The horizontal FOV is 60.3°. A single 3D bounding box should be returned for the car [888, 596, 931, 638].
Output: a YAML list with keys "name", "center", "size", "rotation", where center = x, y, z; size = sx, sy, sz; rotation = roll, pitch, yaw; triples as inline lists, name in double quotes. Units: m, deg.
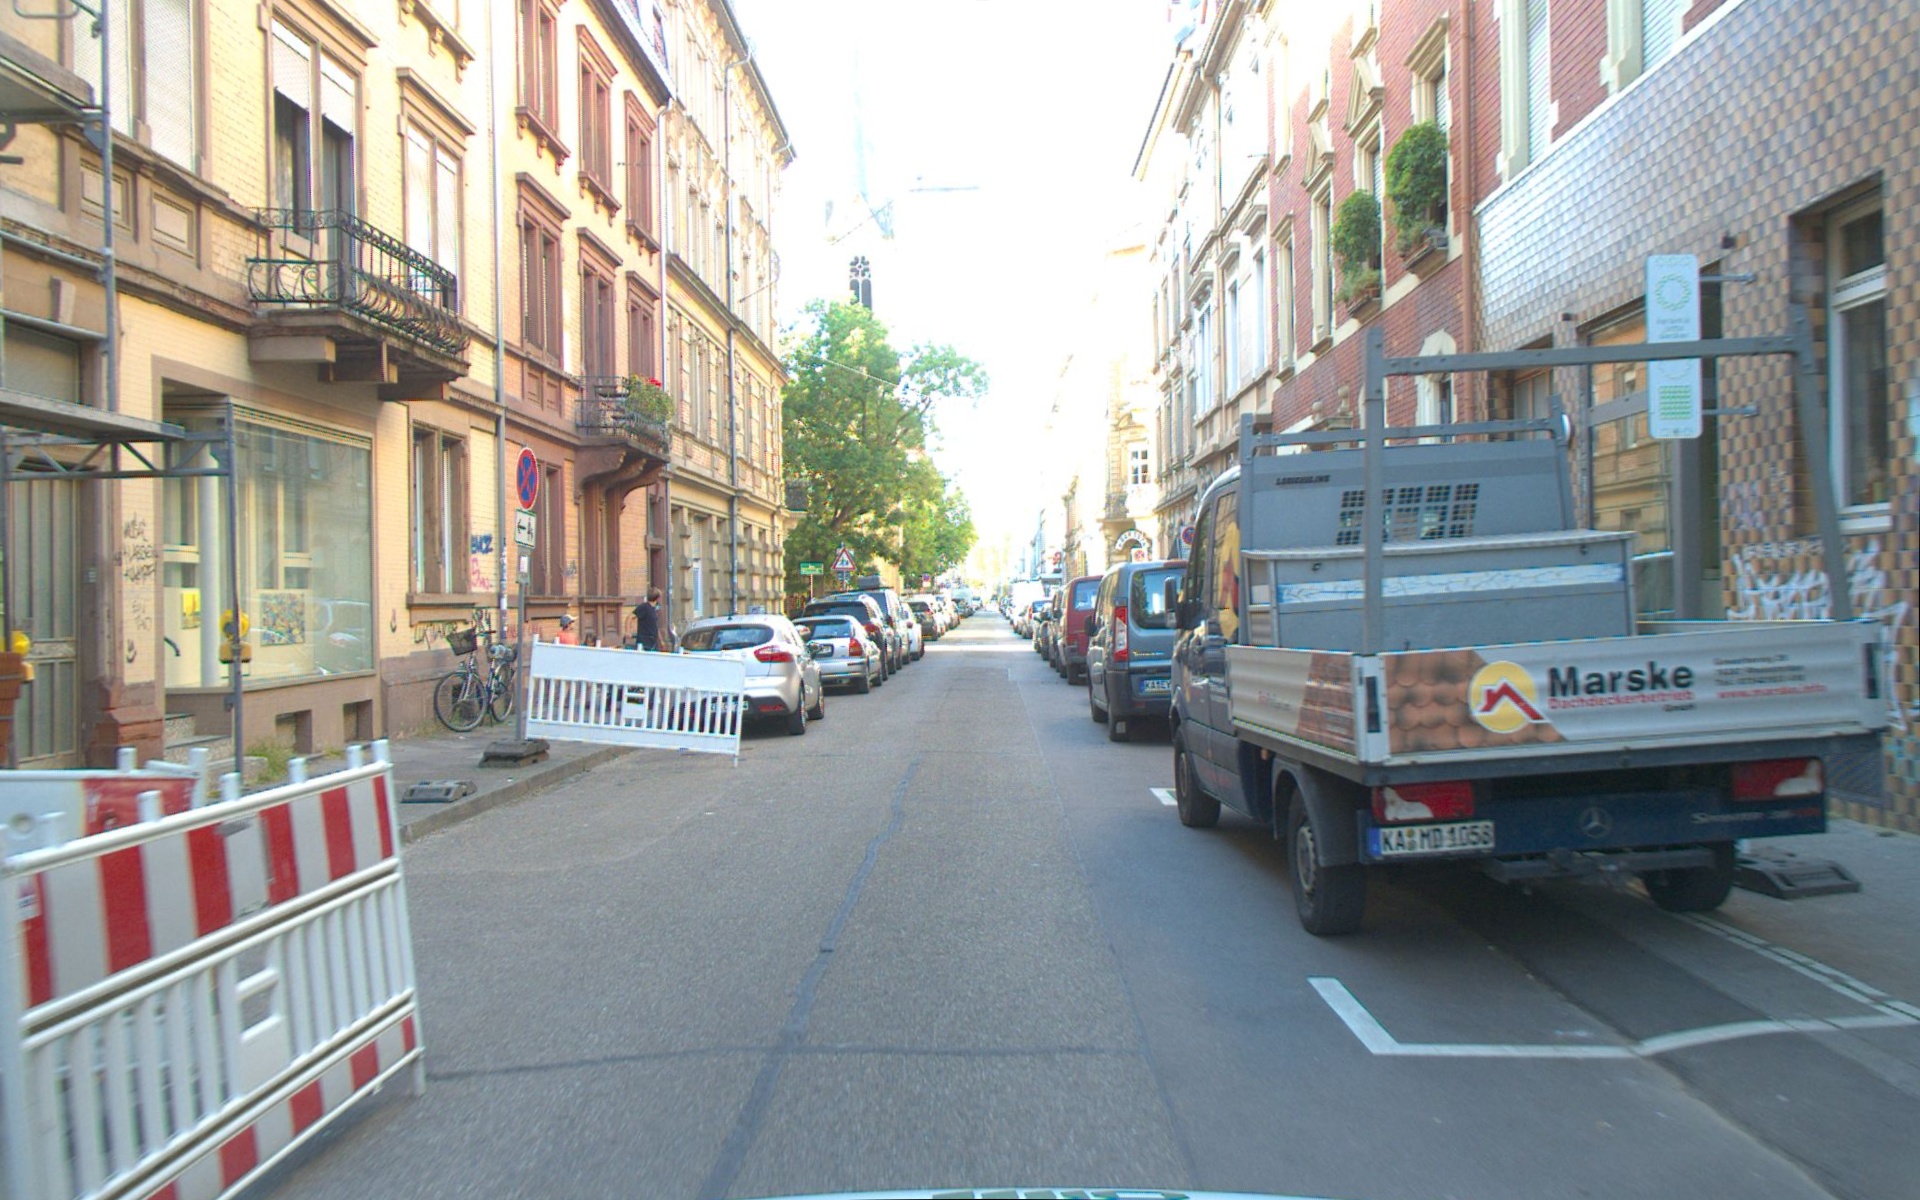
- name: "car"
  center: [-2.049, 0.680, 68.154]
  size: [1.705, 1.675, 4.288]
  rotation: [-1, 0, -1]

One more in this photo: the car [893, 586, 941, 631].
- name: "car"
  center: [-1.887, 0.351, 73.493]
  size: [1.807, 1.895, 4.466]
  rotation: [-1, 0, 2]

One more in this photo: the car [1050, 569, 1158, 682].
- name: "car"
  center: [2.746, 0.465, 32.496]
  size: [1.794, 2.049, 4.742]
  rotation: [1, 0, 1]

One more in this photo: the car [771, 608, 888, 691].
- name: "car"
  center: [-2.295, 0.848, 30.018]
  size: [1.663, 1.337, 4.000]
  rotation: [3, 0, 1]

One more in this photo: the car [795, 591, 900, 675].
- name: "car"
  center: [-2.308, 0.659, 35.050]
  size: [1.751, 1.653, 4.609]
  rotation: [1, 0, 2]

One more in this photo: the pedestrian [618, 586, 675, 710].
- name: "pedestrian"
  center: [-4.618, 0.694, 24.424]
  size: [0.671, 1.796, 0.887]
  rotation: [-1, 0, -2]

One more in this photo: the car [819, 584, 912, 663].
- name: "car"
  center: [-2.236, 0.548, 40.413]
  size: [1.853, 1.816, 4.609]
  rotation: [1, 0, 2]

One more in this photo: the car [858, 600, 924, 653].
- name: "car"
  center: [-2.029, 0.755, 49.372]
  size: [1.687, 1.507, 4.090]
  rotation: [1, 0, 1]

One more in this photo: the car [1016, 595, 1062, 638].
- name: "car"
  center: [3.289, 0.672, 69.599]
  size: [1.669, 1.744, 3.937]
  rotation: [-2, 0, -1]

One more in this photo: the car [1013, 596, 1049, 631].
- name: "car"
  center: [3.597, 0.699, 84.442]
  size: [1.770, 1.719, 4.215]
  rotation: [1, -1, 2]

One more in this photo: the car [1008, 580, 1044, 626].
- name: "car"
  center: [3.944, 0.154, 99.049]
  size: [2.025, 2.656, 5.888]
  rotation: [0, 0, 1]

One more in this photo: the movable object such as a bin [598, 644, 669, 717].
- name: "movable object such as a bin"
  center: [-4.581, 1.117, 23.258]
  size: [0.746, 0.948, 1.415]
  rotation: [-1, 0, -2]

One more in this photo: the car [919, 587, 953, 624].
- name: "car"
  center: [-1.358, 0.335, 95.357]
  size: [1.826, 1.991, 4.610]
  rotation: [-2, 0, 0]

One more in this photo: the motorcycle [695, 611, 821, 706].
- name: "motorcycle"
  center: [-3.182, 0.920, 25.924]
  size: [0.837, 1.383, 2.164]
  rotation: [-3, 0, -41]

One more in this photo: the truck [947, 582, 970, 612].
- name: "truck"
  center: [-0.148, -0.336, 193.917]
  size: [2.480, 3.339, 6.995]
  rotation: [-1, 0, 1]

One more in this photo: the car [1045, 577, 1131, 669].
- name: "car"
  center: [2.906, 0.497, 38.248]
  size: [1.733, 1.995, 4.264]
  rotation: [1, 0, 1]

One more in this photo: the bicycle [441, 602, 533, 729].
- name: "bicycle"
  center: [-5.725, 0.770, 20.090]
  size: [0.513, 1.450, 1.712]
  rotation: [2, -1, 2]

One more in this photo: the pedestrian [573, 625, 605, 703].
- name: "pedestrian"
  center: [-5.338, 0.920, 23.791]
  size: [0.386, 1.105, 0.431]
  rotation: [0, 0, -4]

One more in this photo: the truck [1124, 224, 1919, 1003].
- name: "truck"
  center: [2.456, 0.043, 9.244]
  size: [2.105, 2.703, 6.251]
  rotation: [-5, 0, -1]

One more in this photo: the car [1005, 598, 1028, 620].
- name: "car"
  center: [3.964, 0.622, 115.116]
  size: [1.570, 1.531, 4.001]
  rotation: [0, 0, 2]

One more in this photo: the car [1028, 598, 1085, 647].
- name: "car"
  center: [3.062, 0.694, 53.329]
  size: [1.671, 1.484, 4.512]
  rotation: [1, 0, 1]

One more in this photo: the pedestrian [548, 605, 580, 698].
- name: "pedestrian"
  center: [-5.748, 0.745, 24.006]
  size: [0.386, 1.329, 0.431]
  rotation: [0, 0, -4]

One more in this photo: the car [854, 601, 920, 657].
- name: "car"
  center: [-1.944, 0.763, 45.081]
  size: [1.640, 1.445, 3.874]
  rotation: [1, 0, 0]

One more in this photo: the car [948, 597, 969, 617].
- name: "car"
  center: [-0.151, 0.651, 155.521]
  size: [1.837, 1.828, 4.001]
  rotation: [-1, 0, 1]

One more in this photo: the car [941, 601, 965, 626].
- name: "car"
  center: [-0.491, 0.907, 116.309]
  size: [1.567, 1.642, 3.808]
  rotation: [-3, 0, 0]

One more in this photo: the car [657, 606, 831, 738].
- name: "car"
  center: [-2.661, 0.842, 21.171]
  size: [1.640, 1.443, 4.000]
  rotation: [-2, 0, 0]

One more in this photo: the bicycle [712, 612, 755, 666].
- name: "bicycle"
  center: [-5.141, 0.873, 37.561]
  size: [0.653, 1.145, 1.785]
  rotation: [2, 0, 2]

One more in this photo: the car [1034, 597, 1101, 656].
- name: "car"
  center: [2.893, 0.693, 45.072]
  size: [1.632, 1.505, 3.888]
  rotation: [-1, 0, 1]

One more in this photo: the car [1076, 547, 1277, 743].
- name: "car"
  center: [2.438, 0.471, 19.655]
  size: [1.807, 2.018, 4.576]
  rotation: [1, 0, 1]

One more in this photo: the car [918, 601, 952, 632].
- name: "car"
  center: [-1.329, 0.861, 89.374]
  size: [1.706, 1.614, 3.869]
  rotation: [0, 0, 1]
